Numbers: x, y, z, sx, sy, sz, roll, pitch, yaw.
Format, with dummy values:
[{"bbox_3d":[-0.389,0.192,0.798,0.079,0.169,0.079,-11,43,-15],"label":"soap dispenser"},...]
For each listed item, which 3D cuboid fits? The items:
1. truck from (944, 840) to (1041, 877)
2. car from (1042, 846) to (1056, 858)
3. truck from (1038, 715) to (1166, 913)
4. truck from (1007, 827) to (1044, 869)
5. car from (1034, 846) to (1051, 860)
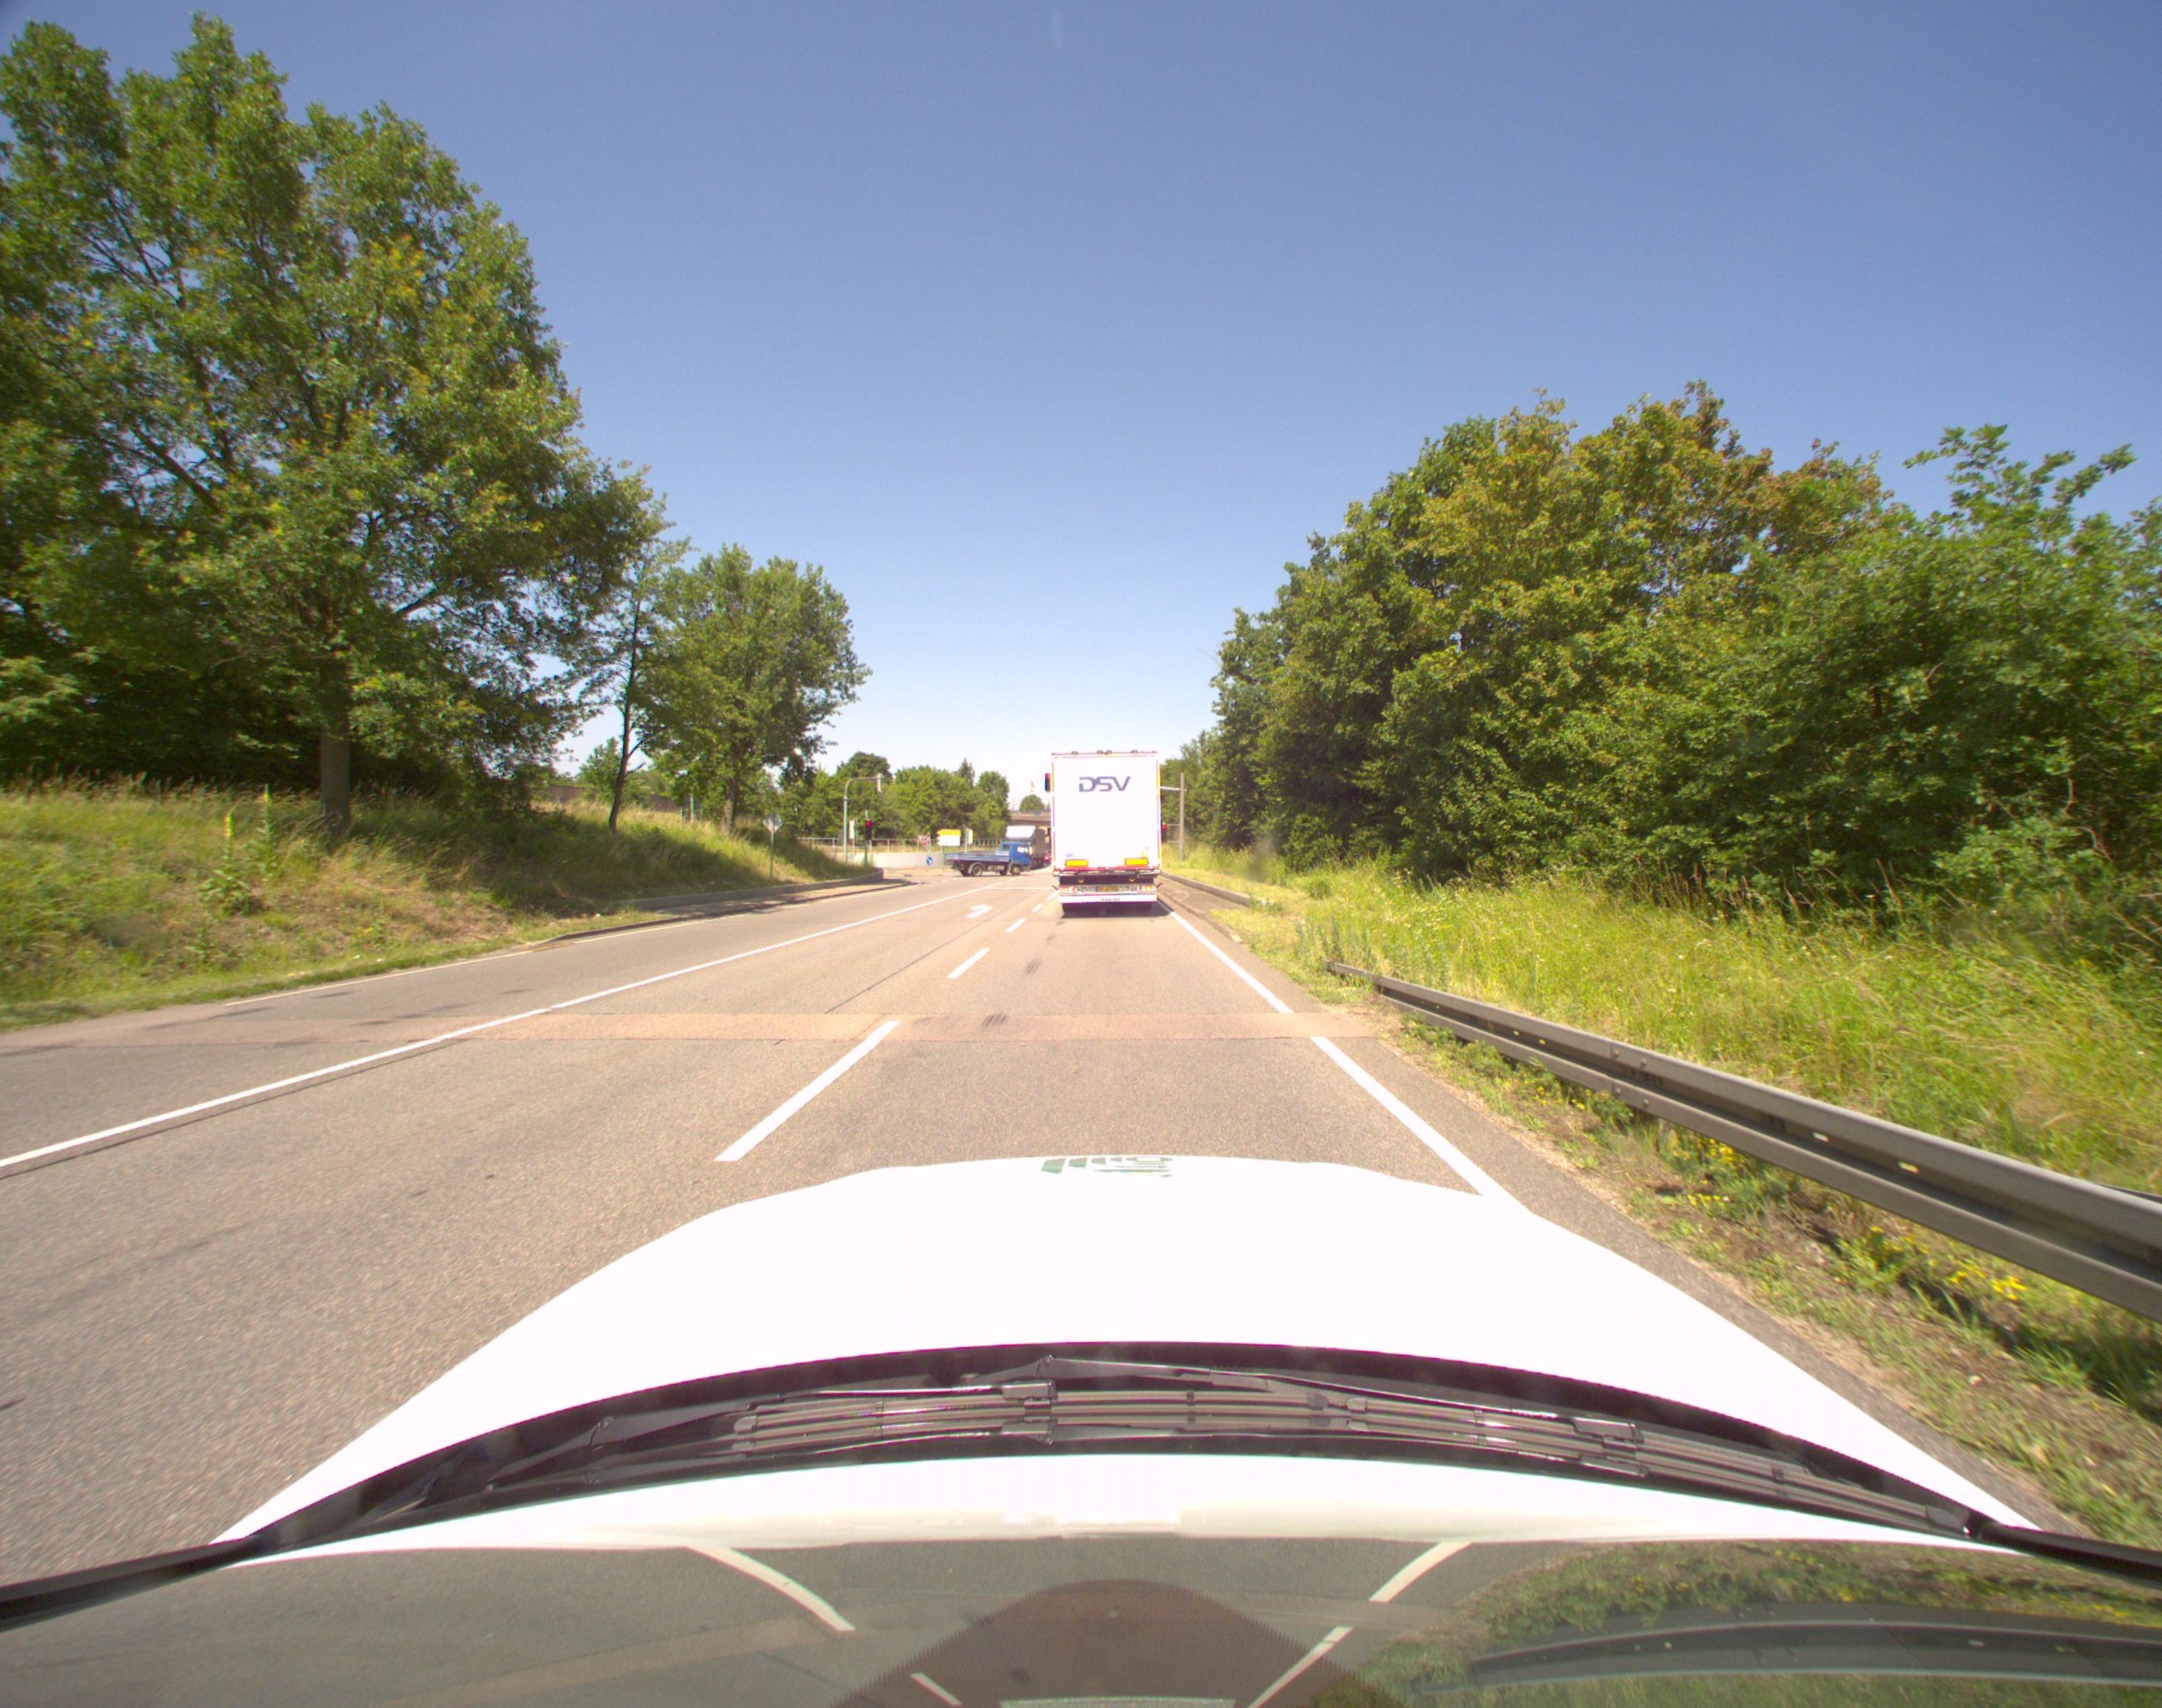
[{"bbox_3d":[-6.309,0.278,58.291,6.455,2.499,2.687,0,0,-33],"label":"truck"},{"bbox_3d":[-4.290,-0.283,109.675,1.740,1.626,3.704,-1,1,1],"label":"car"},{"bbox_3d":[0.641,-0.946,23.882,2.939,4.568,9.866,-1,0,2],"label":"truck"},{"bbox_3d":[-5.248,-0.611,79.079,2.344,3.749,12.631,-1,1,2],"label":"truck"},{"bbox_3d":[-4.534,-0.146,96.300,1.740,1.626,3.704,-1,1,1],"label":"car"}]
